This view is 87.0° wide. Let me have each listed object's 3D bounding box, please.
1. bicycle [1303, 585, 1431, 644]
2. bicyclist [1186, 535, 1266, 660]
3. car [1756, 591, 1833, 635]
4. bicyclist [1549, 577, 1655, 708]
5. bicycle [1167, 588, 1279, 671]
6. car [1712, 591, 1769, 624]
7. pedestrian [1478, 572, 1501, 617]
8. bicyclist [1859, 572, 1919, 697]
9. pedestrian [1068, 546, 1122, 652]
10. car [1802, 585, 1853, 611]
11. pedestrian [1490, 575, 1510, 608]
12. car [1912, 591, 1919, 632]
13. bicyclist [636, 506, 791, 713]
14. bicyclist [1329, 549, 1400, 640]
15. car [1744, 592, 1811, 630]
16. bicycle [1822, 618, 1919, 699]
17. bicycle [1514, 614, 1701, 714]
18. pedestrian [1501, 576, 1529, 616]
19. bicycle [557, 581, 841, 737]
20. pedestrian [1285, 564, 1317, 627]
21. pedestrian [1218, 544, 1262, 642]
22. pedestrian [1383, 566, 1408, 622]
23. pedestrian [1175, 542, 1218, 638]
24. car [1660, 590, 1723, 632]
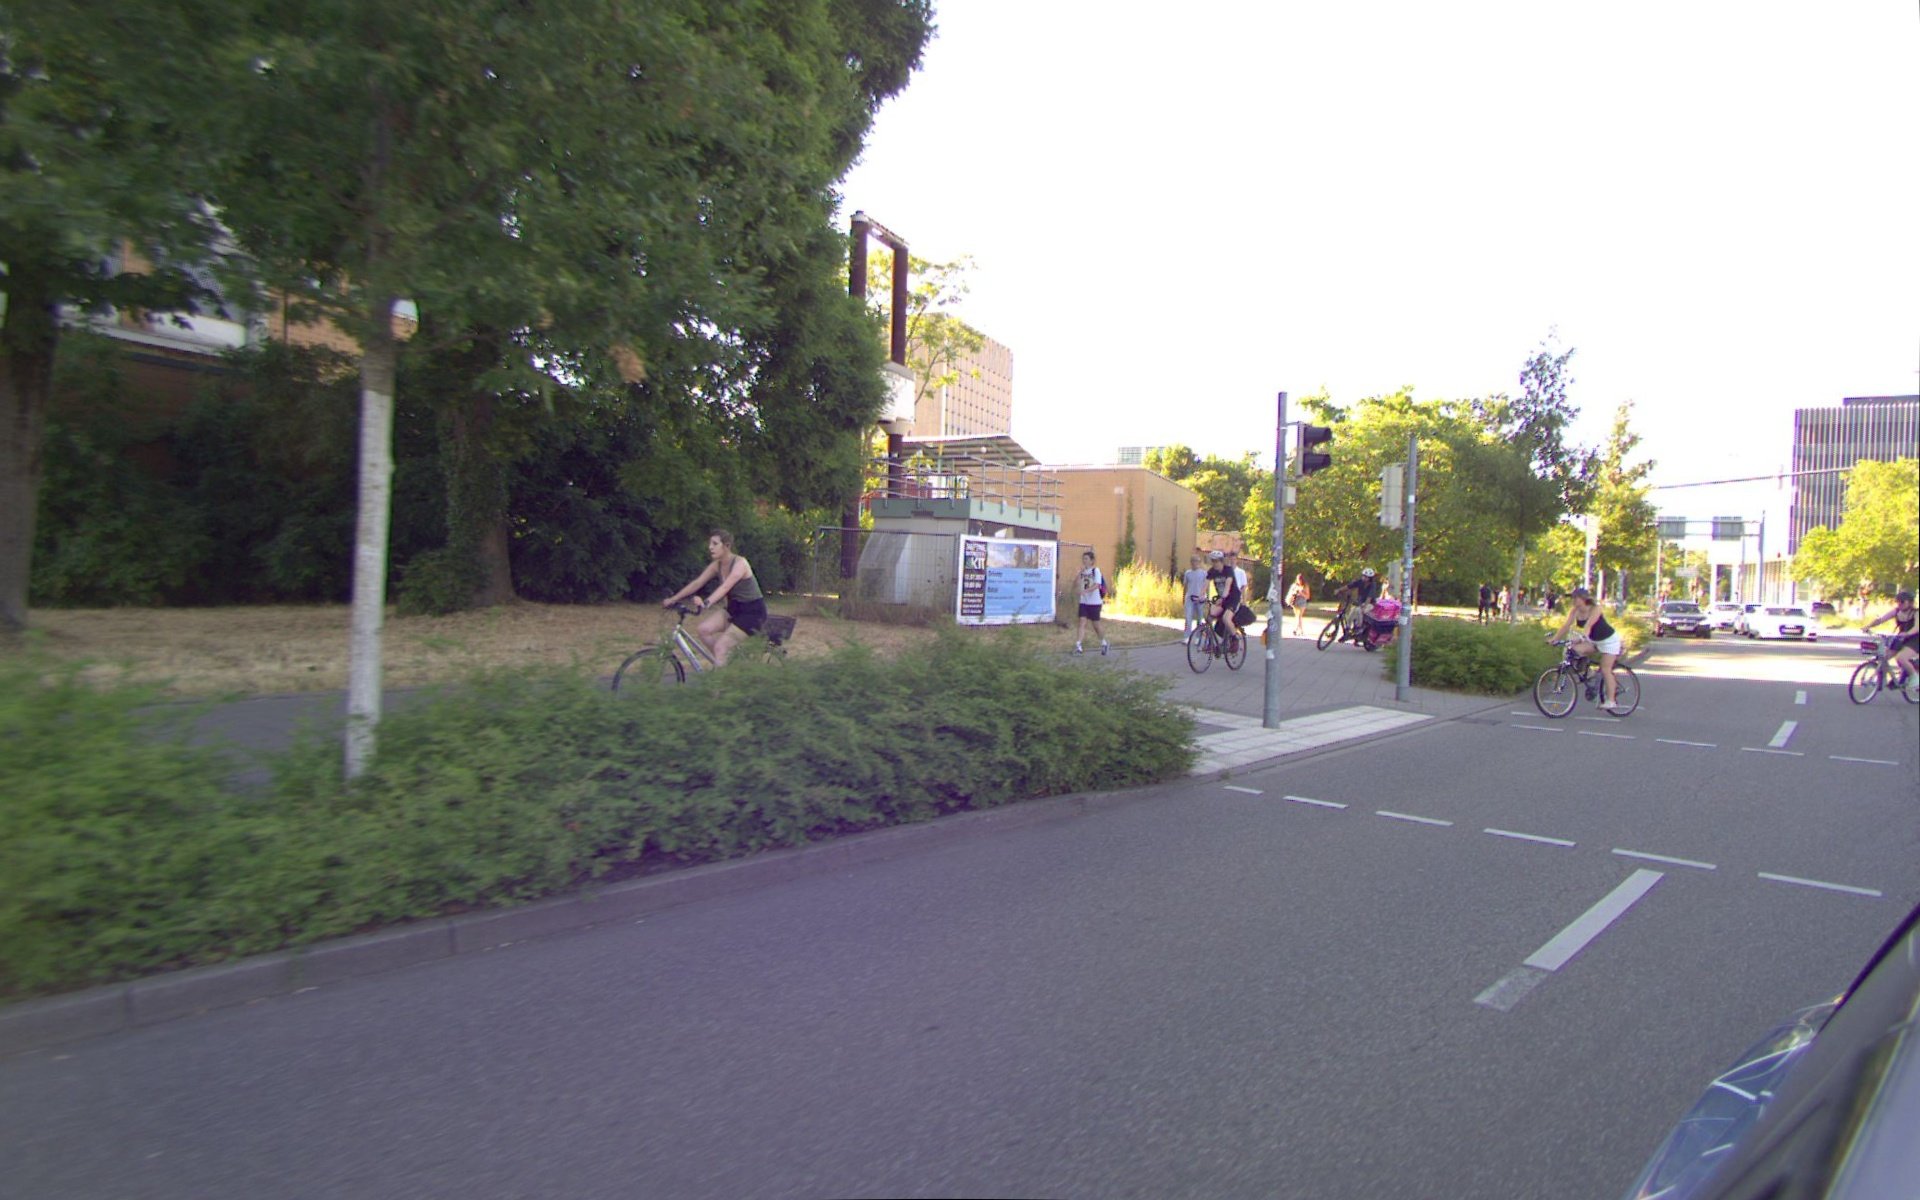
[{"bbox_3d":[8.572,0.311,21.328,2.526,1.170,0.782,1,1,-17],"label":"bicycle"},{"bbox_3d":[4.143,-0.055,15.756,0.777,1.853,1.077,3,2,40],"label":"bicyclist"},{"bbox_3d":[32.968,0.458,40.081,1.791,1.538,4.379,3,2,33],"label":"car"},{"bbox_3d":[8.063,0.523,12.733,0.834,1.568,0.717,2,-1,3],"label":"bicyclist"},{"bbox_3d":[4.132,0.415,15.765,0.777,1.170,2.258,3,2,39],"label":"bicycle"},{"bbox_3d":[40.028,0.341,51.974,1.912,1.538,3.970,3,2,33],"label":"car"},{"bbox_3d":[20.835,-0.216,39.806,0.707,1.734,0.726,2,1,30],"label":"pedestrian"},{"bbox_3d":[14.060,0.492,15.008,0.832,1.810,0.718,0,0,-6],"label":"bicyclist"},{"bbox_3d":[2.254,-0.024,16.929,0.620,1.720,0.621,3,2,39],"label":"pedestrian"},{"bbox_3d":[60.661,-0.176,70.852,1.985,1.705,4.577,3,2,32],"label":"car"},{"bbox_3d":[26.012,-0.429,48.748,0.755,1.562,0.840,3,2,25],"label":"pedestrian"},{"bbox_3d":[36.722,0.483,37.107,1.912,1.538,3.970,3,2,33],"label":"car"},{"bbox_3d":[-2.170,0.057,8.885,1.072,1.697,0.781,1,4,-33],"label":"bicyclist"},{"bbox_3d":[8.501,-0.123,21.300,1.070,1.856,0.782,1,1,-17],"label":"bicyclist"},{"bbox_3d":[37.073,0.457,46.000,1.912,1.538,3.970,3,2,33],"label":"car"},{"bbox_3d":[14.061,0.852,15.012,2.025,1.135,0.720,0,0,-5],"label":"bicycle"},{"bbox_3d":[8.106,0.787,12.726,1.835,1.135,0.719,2,-1,3],"label":"bicycle"},{"bbox_3d":[25.229,-0.182,46.023,1.008,1.771,0.842,3,2,25],"label":"pedestrian"},{"bbox_3d":[-2.251,0.468,8.861,2.246,1.169,0.781,1,4,-33],"label":"bicycle"},{"bbox_3d":[8.808,-0.120,26.155,0.617,1.594,0.632,2,1,30],"label":"pedestrian"},{"bbox_3d":[5.544,-0.144,20.053,0.610,1.892,0.578,1,1,-9],"label":"pedestrian"},{"bbox_3d":[13.957,-0.198,32.420,0.669,1.725,0.869,2,1,25],"label":"pedestrian"},{"bbox_3d":[4.757,-0.211,20.357,0.610,1.892,0.578,1,1,-9],"label":"pedestrian"},{"bbox_3d":[29.456,0.383,40.848,1.791,1.538,3.953,3,2,33],"label":"car"}]
